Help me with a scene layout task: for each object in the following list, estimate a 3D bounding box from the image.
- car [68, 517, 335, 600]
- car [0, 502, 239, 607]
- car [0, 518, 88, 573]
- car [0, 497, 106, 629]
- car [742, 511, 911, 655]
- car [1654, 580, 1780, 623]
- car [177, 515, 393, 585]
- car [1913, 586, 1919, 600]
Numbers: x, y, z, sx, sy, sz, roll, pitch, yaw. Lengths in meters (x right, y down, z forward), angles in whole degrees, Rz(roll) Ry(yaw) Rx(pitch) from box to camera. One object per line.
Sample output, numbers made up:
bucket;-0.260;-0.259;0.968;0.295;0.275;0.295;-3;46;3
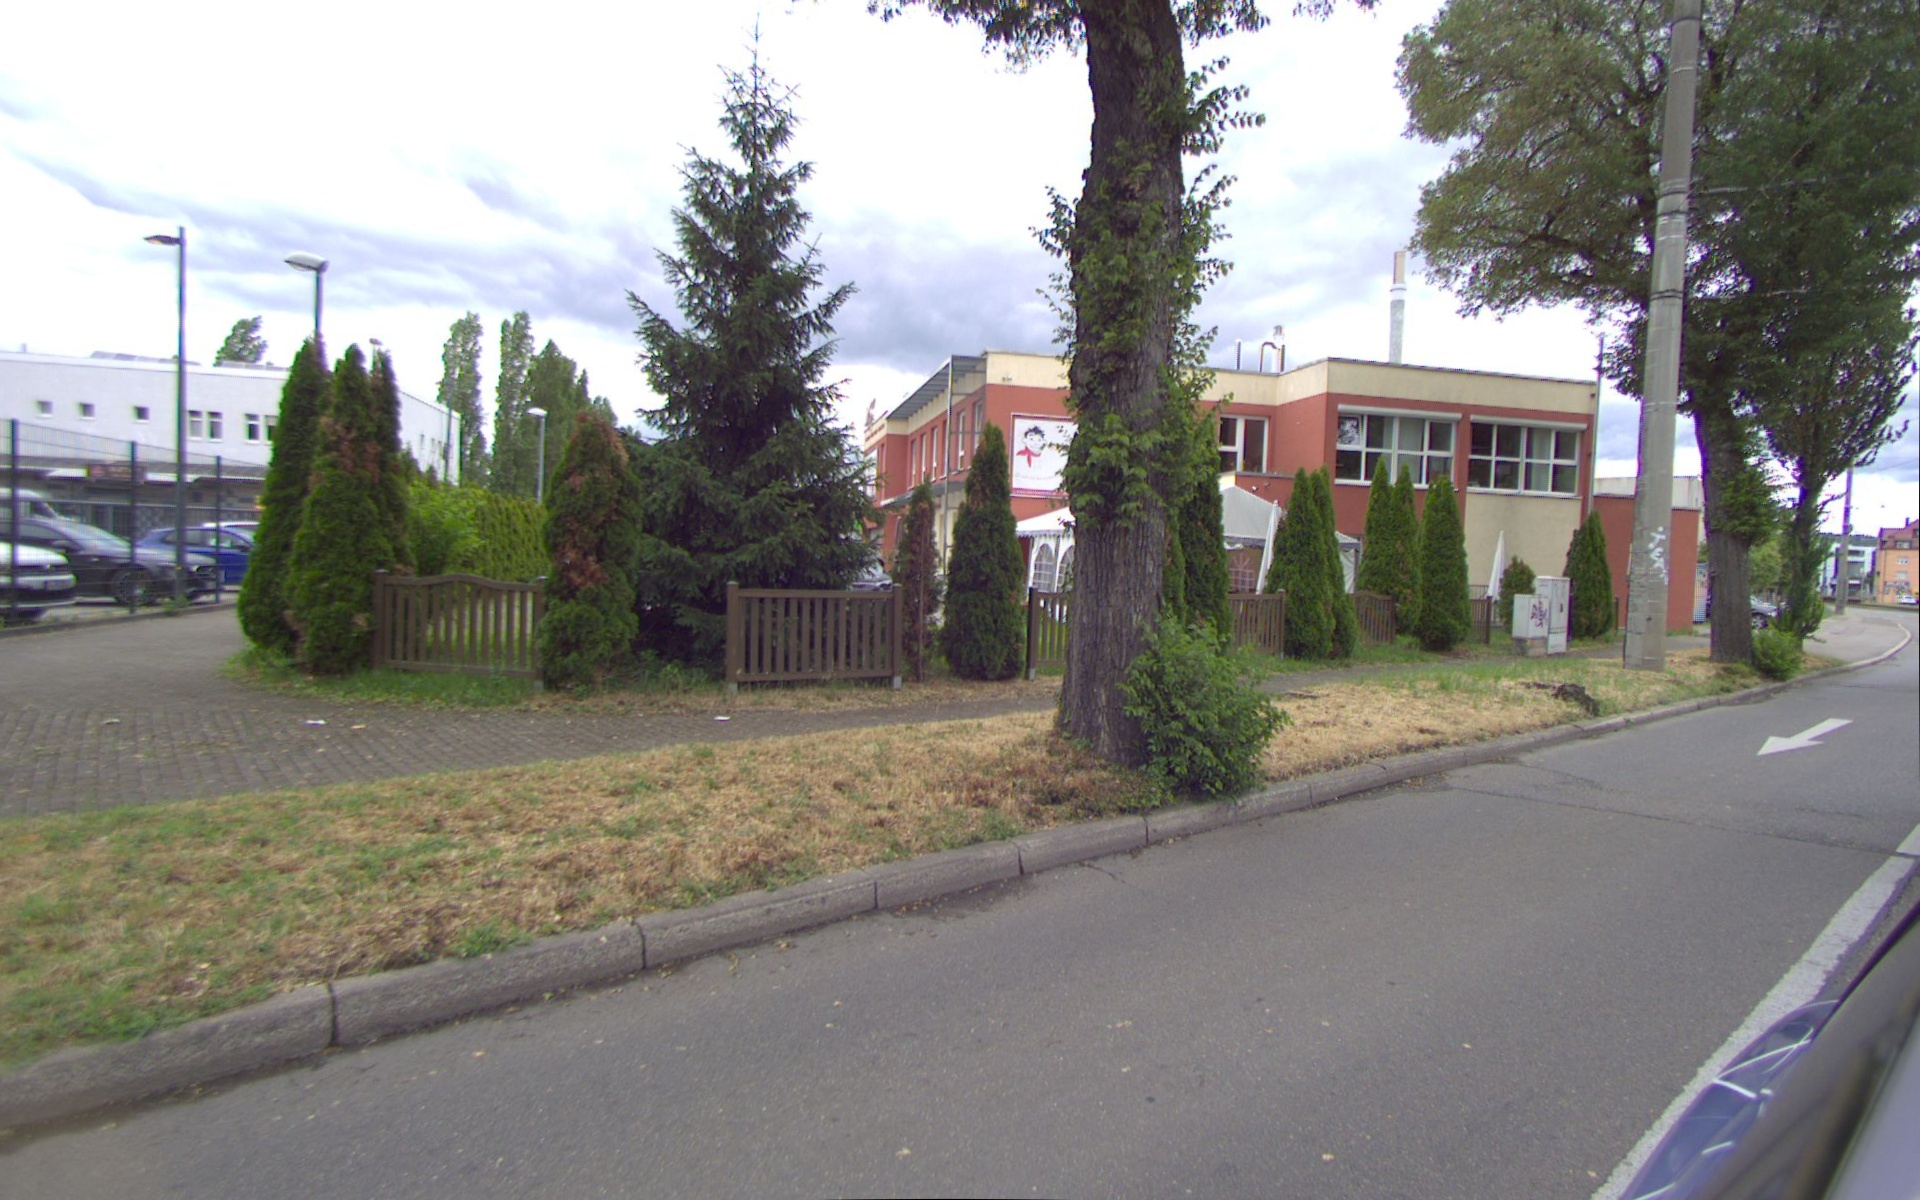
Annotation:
car;-17.022;-0.922;22.967;4.407;1.686;2.005;1;2;-14
car;-15.560;-0.807;17.661;4.407;1.686;2.005;1;2;-14
car;-30.752;-1.720;32.143;4.181;1.670;2.004;0;0;-17
car;-14.435;-0.557;13.355;4.407;1.686;2.005;1;2;-14
car;-2.304;-0.265;16.478;1.958;2.039;4.008;0;0;-19
car;30.982;0.034;41.489;3.986;1.666;1.867;0;0;43
car;-17.978;-1.319;27.200;4.407;1.686;2.005;1;2;-14
car;151.423;-1.115;159.270;1.992;2.039;3.940;0;0;42
